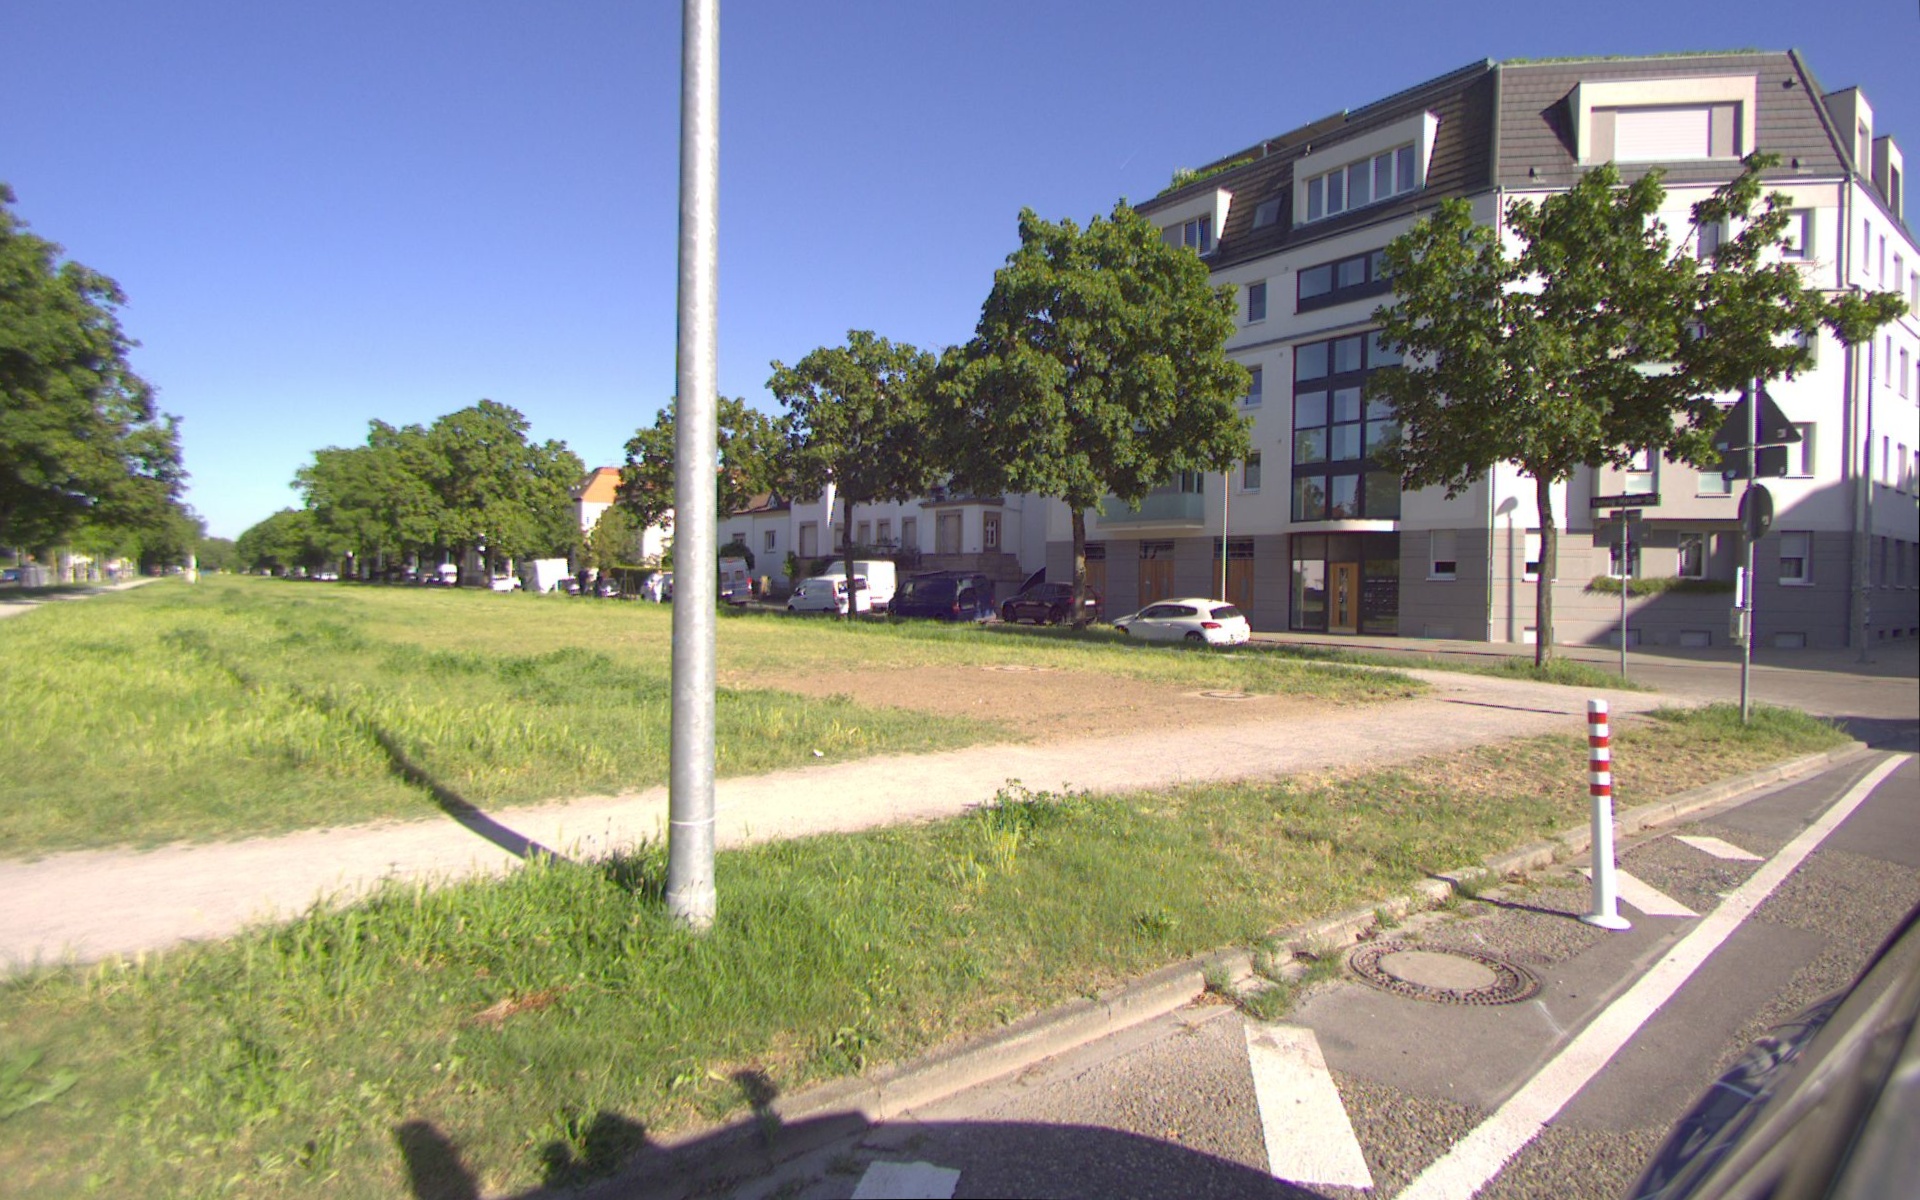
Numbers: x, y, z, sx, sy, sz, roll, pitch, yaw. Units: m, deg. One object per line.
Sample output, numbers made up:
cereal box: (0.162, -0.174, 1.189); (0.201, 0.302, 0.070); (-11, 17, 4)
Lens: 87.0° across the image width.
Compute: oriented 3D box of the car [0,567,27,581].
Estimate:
car: (-99.877, -2.743, 106.814); (1.690, 1.358, 3.808); (0, 2, -37)

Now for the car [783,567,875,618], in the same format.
car: (-5.521, -0.391, 42.305); (1.843, 1.906, 4.423); (-5, 5, -36)

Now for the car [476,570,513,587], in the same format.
car: (-41.207, -1.910, 89.574); (2.042, 1.484, 4.727); (0, 2, -36)

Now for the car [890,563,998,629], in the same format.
car: (-0.633, -0.201, 35.646); (1.752, 2.108, 3.994); (-5, 4, -36)

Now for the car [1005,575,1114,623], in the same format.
car: (3.836, -0.090, 39.680); (1.861, 1.703, 4.288); (-2, 3, -36)

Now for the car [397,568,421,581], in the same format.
car: (-68.481, -3.198, 125.816); (2.042, 1.484, 4.727); (0, 2, -36)

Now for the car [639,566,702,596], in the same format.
car: (-16.389, -1.079, 57.203); (2.047, 1.618, 4.287); (0, 2, -36)

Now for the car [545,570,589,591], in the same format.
car: (-27.943, -1.402, 71.923); (1.899, 1.361, 4.109); (0, 2, -36)

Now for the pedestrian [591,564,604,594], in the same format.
pedestrian: (-18.553, -1.092, 51.765); (0.487, 1.524, 0.535); (0, 1, -37)

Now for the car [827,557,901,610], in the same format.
car: (-4.902, -0.894, 51.219); (1.986, 2.580, 3.994); (-2, 2, -36)

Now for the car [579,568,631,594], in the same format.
car: (-23.226, -1.282, 66.073); (2.047, 1.618, 4.287); (0, 2, -36)

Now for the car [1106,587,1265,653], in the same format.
car: (5.993, 0.464, 27.264); (1.709, 1.450, 3.993); (-5, 5, -37)

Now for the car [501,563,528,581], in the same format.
car: (-47.143, -2.937, 107.098); (1.831, 1.868, 3.994); (0, 1, -36)

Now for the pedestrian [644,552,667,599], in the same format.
pedestrian: (-12.627, -1.006, 41.940); (0.711, 1.900, 0.629); (0, 1, -39)

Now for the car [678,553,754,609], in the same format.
car: (-12.493, -1.031, 51.616); (2.154, 2.615, 4.287); (-5, 4, -36)

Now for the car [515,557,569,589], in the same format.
car: (-31.926, -2.081, 77.231); (2.504, 2.363, 5.919); (0, 2, -36)

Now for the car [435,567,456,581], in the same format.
car: (-69.804, -3.530, 137.257); (1.831, 1.868, 3.994); (0, 1, -36)

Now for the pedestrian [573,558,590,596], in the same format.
pedestrian: (-19.310, -1.178, 51.566); (0.633, 1.900, 0.629); (0, 1, -39)

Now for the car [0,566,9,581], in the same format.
car: (-90.269, -2.469, 94.487); (1.690, 1.358, 3.808); (0, 2, -37)
